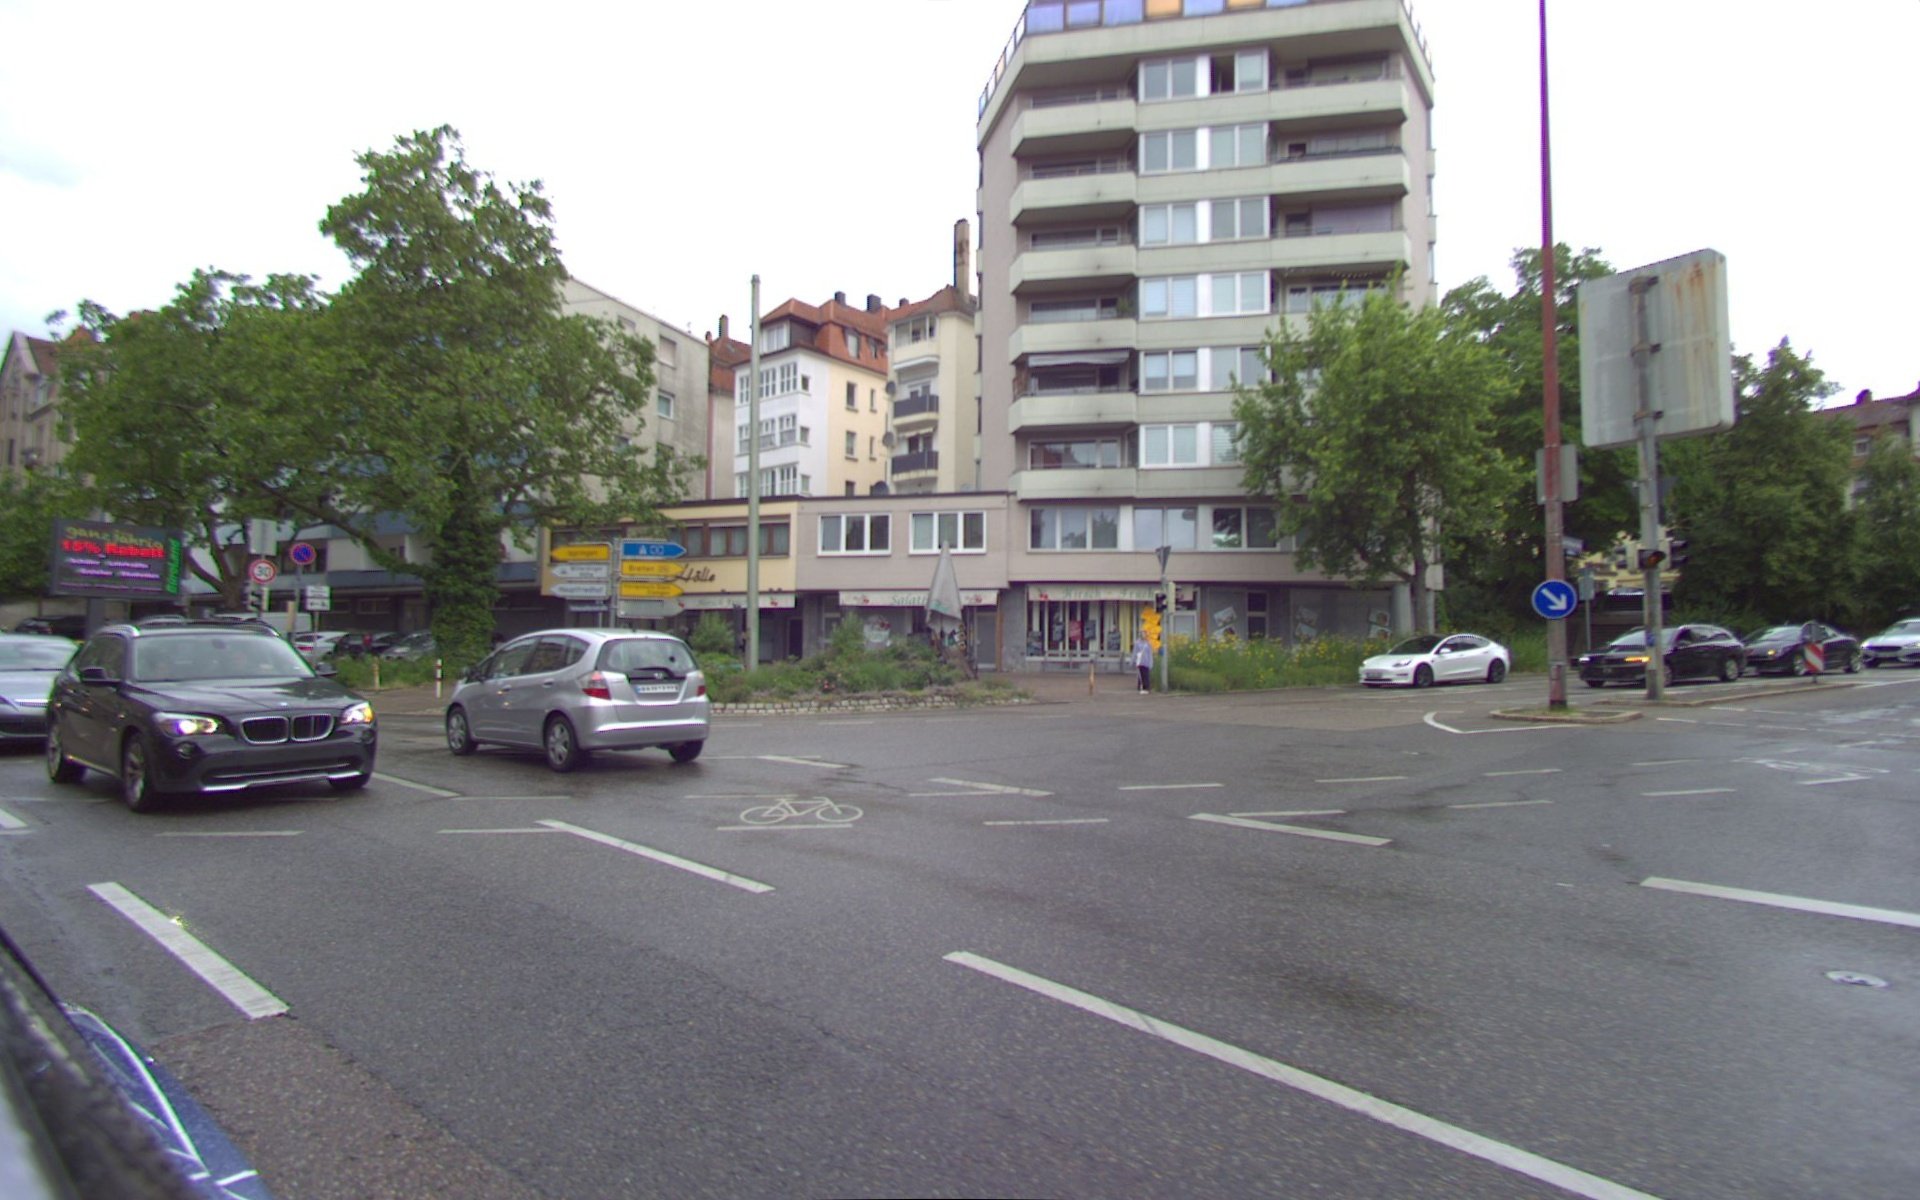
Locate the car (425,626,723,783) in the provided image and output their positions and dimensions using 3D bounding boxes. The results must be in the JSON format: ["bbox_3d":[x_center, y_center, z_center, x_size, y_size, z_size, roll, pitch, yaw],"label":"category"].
[{"bbox_3d":[-4.582,1.076,11.768,3.868,1.530,1.608,-1,-2,41],"label":"car"}]

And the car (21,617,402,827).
[{"bbox_3d":[-7.090,0.954,9.447,4.208,1.546,1.736,-1,-2,37],"label":"car"}]

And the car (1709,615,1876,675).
[{"bbox_3d":[22.192,1.177,26.979,3.954,1.503,1.772,0,-3,-24],"label":"car"}]

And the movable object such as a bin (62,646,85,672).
[{"bbox_3d":[-32.333,2.150,36.914,0.545,0.908,0.480,1,-2,33],"label":"movable object such as a bin"}]

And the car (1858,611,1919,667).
[{"bbox_3d":[28.646,1.127,29.689,4.227,1.549,1.744,0,-3,-24],"label":"car"}]

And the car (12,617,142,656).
[{"bbox_3d":[-40.505,1.628,46.559,1.793,1.605,4.296,1,0,12],"label":"car"}]

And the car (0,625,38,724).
[{"bbox_3d":[-18.047,1.316,17.910,4.204,1.657,1.736,-2,-3,36],"label":"car"}]

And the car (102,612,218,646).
[{"bbox_3d":[-35.761,1.299,45.346,1.675,1.416,3.817,1,-1,15],"label":"car"}]

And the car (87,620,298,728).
[{"bbox_3d":[-15.040,1.377,19.808,4.129,1.860,1.730,0,-3,29],"label":"car"}]

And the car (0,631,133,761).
[{"bbox_3d":[-12.567,1.159,13.294,4.175,1.494,1.735,-1,-3,38],"label":"car"}]

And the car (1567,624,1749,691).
[{"bbox_3d":[16.932,1.367,24.555,3.954,1.503,1.772,0,-3,-24],"label":"car"}]

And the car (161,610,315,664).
[{"bbox_3d":[-28.922,1.440,40.760,1.863,1.992,4.951,1,-1,16],"label":"car"}]

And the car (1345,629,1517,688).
[{"bbox_3d":[13.054,1.572,28.072,4.317,1.503,1.920,0,-1,-24],"label":"car"}]

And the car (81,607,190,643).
[{"bbox_3d":[-37.587,1.110,46.264,1.659,1.416,3.831,1,1,5],"label":"car"}]

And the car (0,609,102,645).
[{"bbox_3d":[-43.519,1.261,48.243,1.750,1.543,3.827,1,1,8],"label":"car"}]

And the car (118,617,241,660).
[{"bbox_3d":[-33.285,1.619,43.276,1.791,1.702,3.814,1,-1,17],"label":"car"}]

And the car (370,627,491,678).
[{"bbox_3d":[-19.361,1.880,37.219,1.918,1.655,4.208,1,-1,6],"label":"car"}]

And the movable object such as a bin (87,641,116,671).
[{"bbox_3d":[-31.622,2.065,37.274,0.626,1.088,0.636,1,-2,33],"label":"movable object such as a bin"}]

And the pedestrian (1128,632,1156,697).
[{"bbox_3d":[4.917,1.733,27.304,0.611,1.706,0.625,0,-1,-2],"label":"pedestrian"}]

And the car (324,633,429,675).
[{"bbox_3d":[-21.878,2.000,38.098,1.611,1.426,3.615,1,-1,6],"label":"car"}]

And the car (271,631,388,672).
[{"bbox_3d":[-24.192,1.948,38.963,1.792,1.426,3.693,1,-1,10],"label":"car"}]
